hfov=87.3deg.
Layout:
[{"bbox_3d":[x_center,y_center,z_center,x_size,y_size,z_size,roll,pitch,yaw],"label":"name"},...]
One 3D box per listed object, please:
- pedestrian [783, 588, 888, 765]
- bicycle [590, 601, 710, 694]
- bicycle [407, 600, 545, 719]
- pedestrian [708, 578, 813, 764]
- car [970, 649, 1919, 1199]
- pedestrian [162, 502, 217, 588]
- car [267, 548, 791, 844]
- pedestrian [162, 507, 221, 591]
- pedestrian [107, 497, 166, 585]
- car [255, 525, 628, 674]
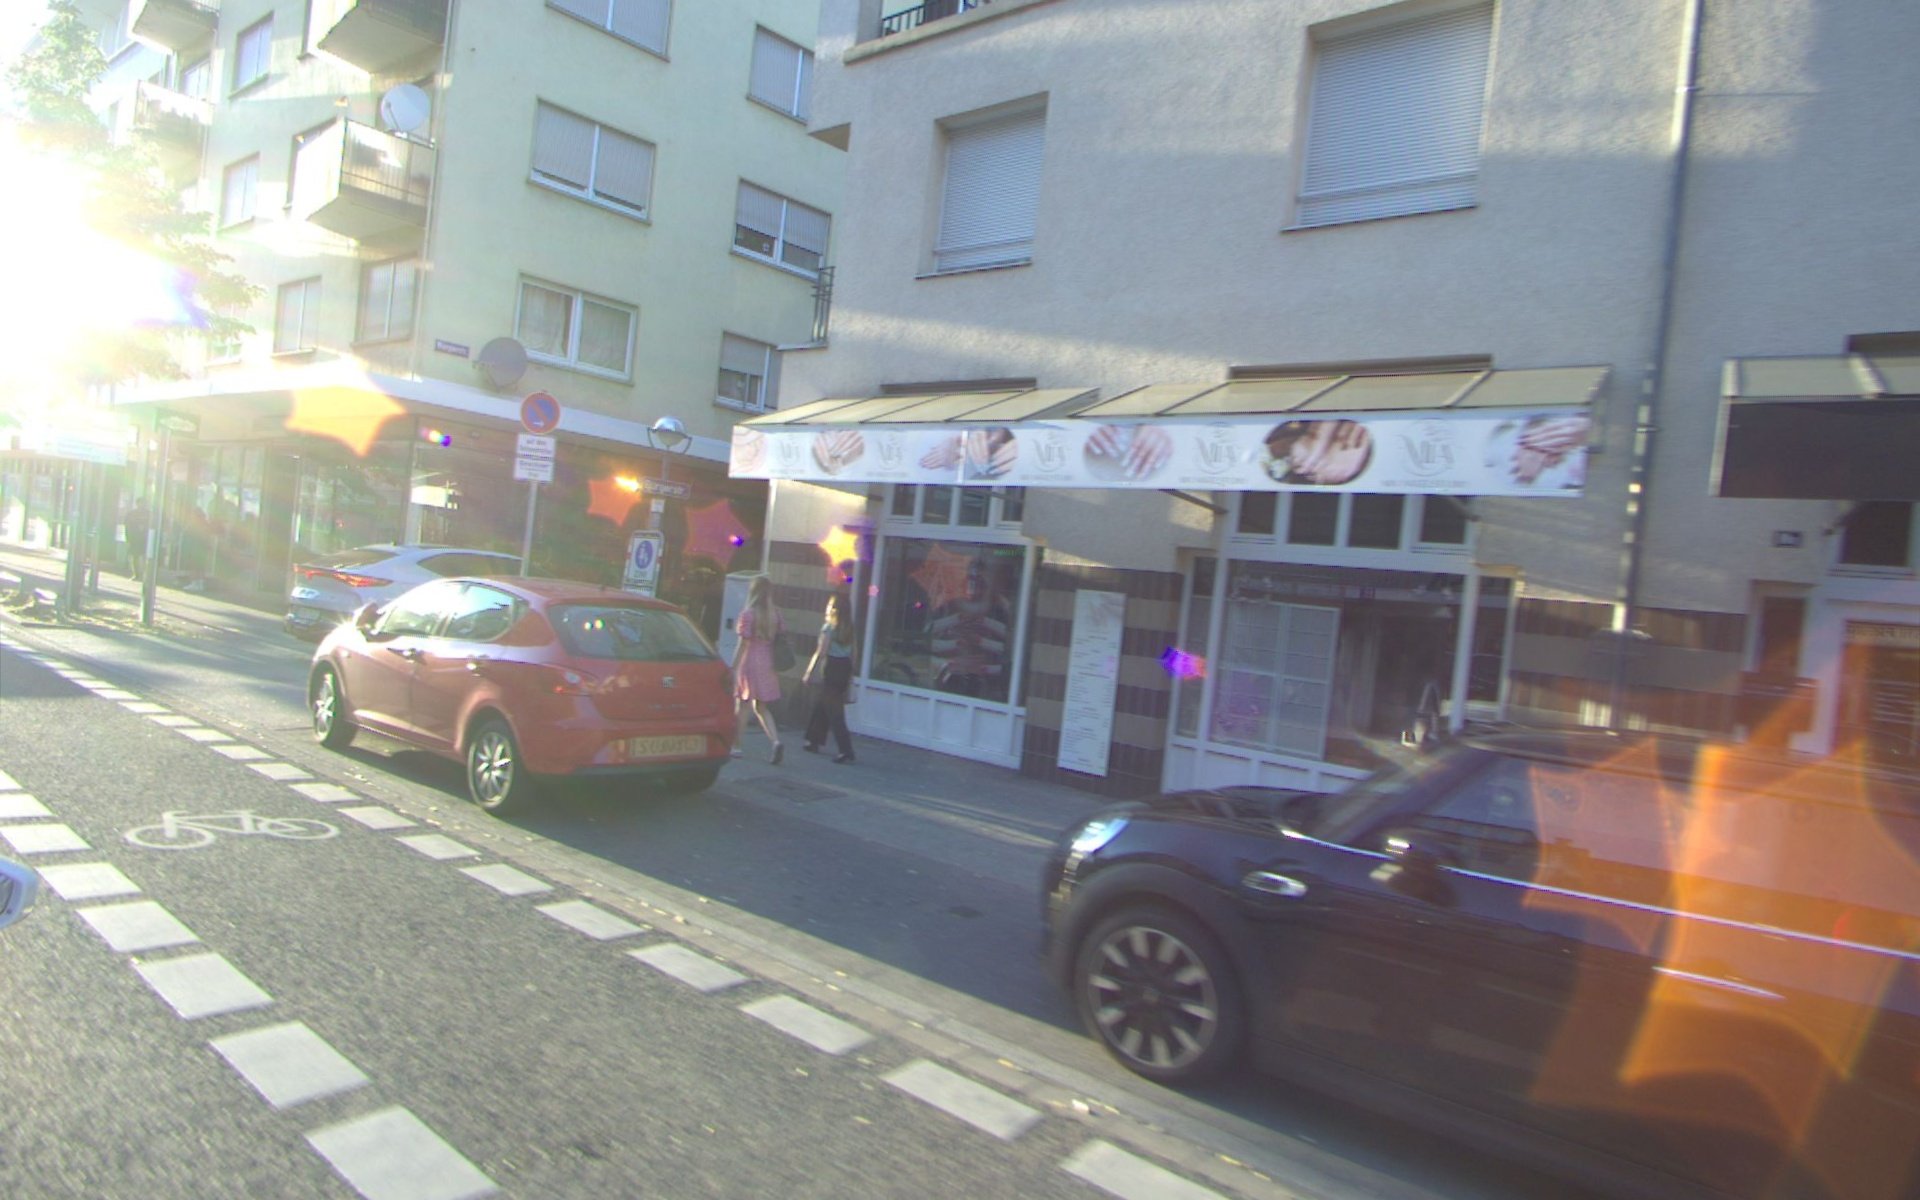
[{"bbox_3d":[-1.170,0.705,9.440,0.642,1.549,0.539,7,1,41],"label":"pedestrian"},{"bbox_3d":[-4.203,0.625,13.591,1.815,1.046,0.391,6,1,33],"label":"bicycle"},{"bbox_3d":[-4.808,0.571,9.946,1.589,0.968,0.391,6,1,33],"label":"bicycle"},{"bbox_3d":[-1.757,0.619,8.873,0.547,1.549,0.539,7,1,41],"label":"pedestrian"},{"bbox_3d":[2.089,1.121,3.584,3.690,1.439,1.722,6,1,36],"label":"car"},{"bbox_3d":[-17.168,-1.226,22.420,0.518,1.803,0.582,8,-1,17],"label":"pedestrian"},{"bbox_3d":[-3.347,0.535,7.526,3.969,1.439,1.722,6,1,36],"label":"car"},{"bbox_3d":[-16.443,-1.091,21.532,0.765,1.679,0.642,7,-1,37],"label":"pedestrian"},{"bbox_3d":[-18.276,-1.301,22.325,0.640,1.828,0.708,7,-1,36],"label":"pedestrian"},{"bbox_3d":[-6.916,0.067,13.891,1.825,1.632,4.174,6,0,30],"label":"car"}]
